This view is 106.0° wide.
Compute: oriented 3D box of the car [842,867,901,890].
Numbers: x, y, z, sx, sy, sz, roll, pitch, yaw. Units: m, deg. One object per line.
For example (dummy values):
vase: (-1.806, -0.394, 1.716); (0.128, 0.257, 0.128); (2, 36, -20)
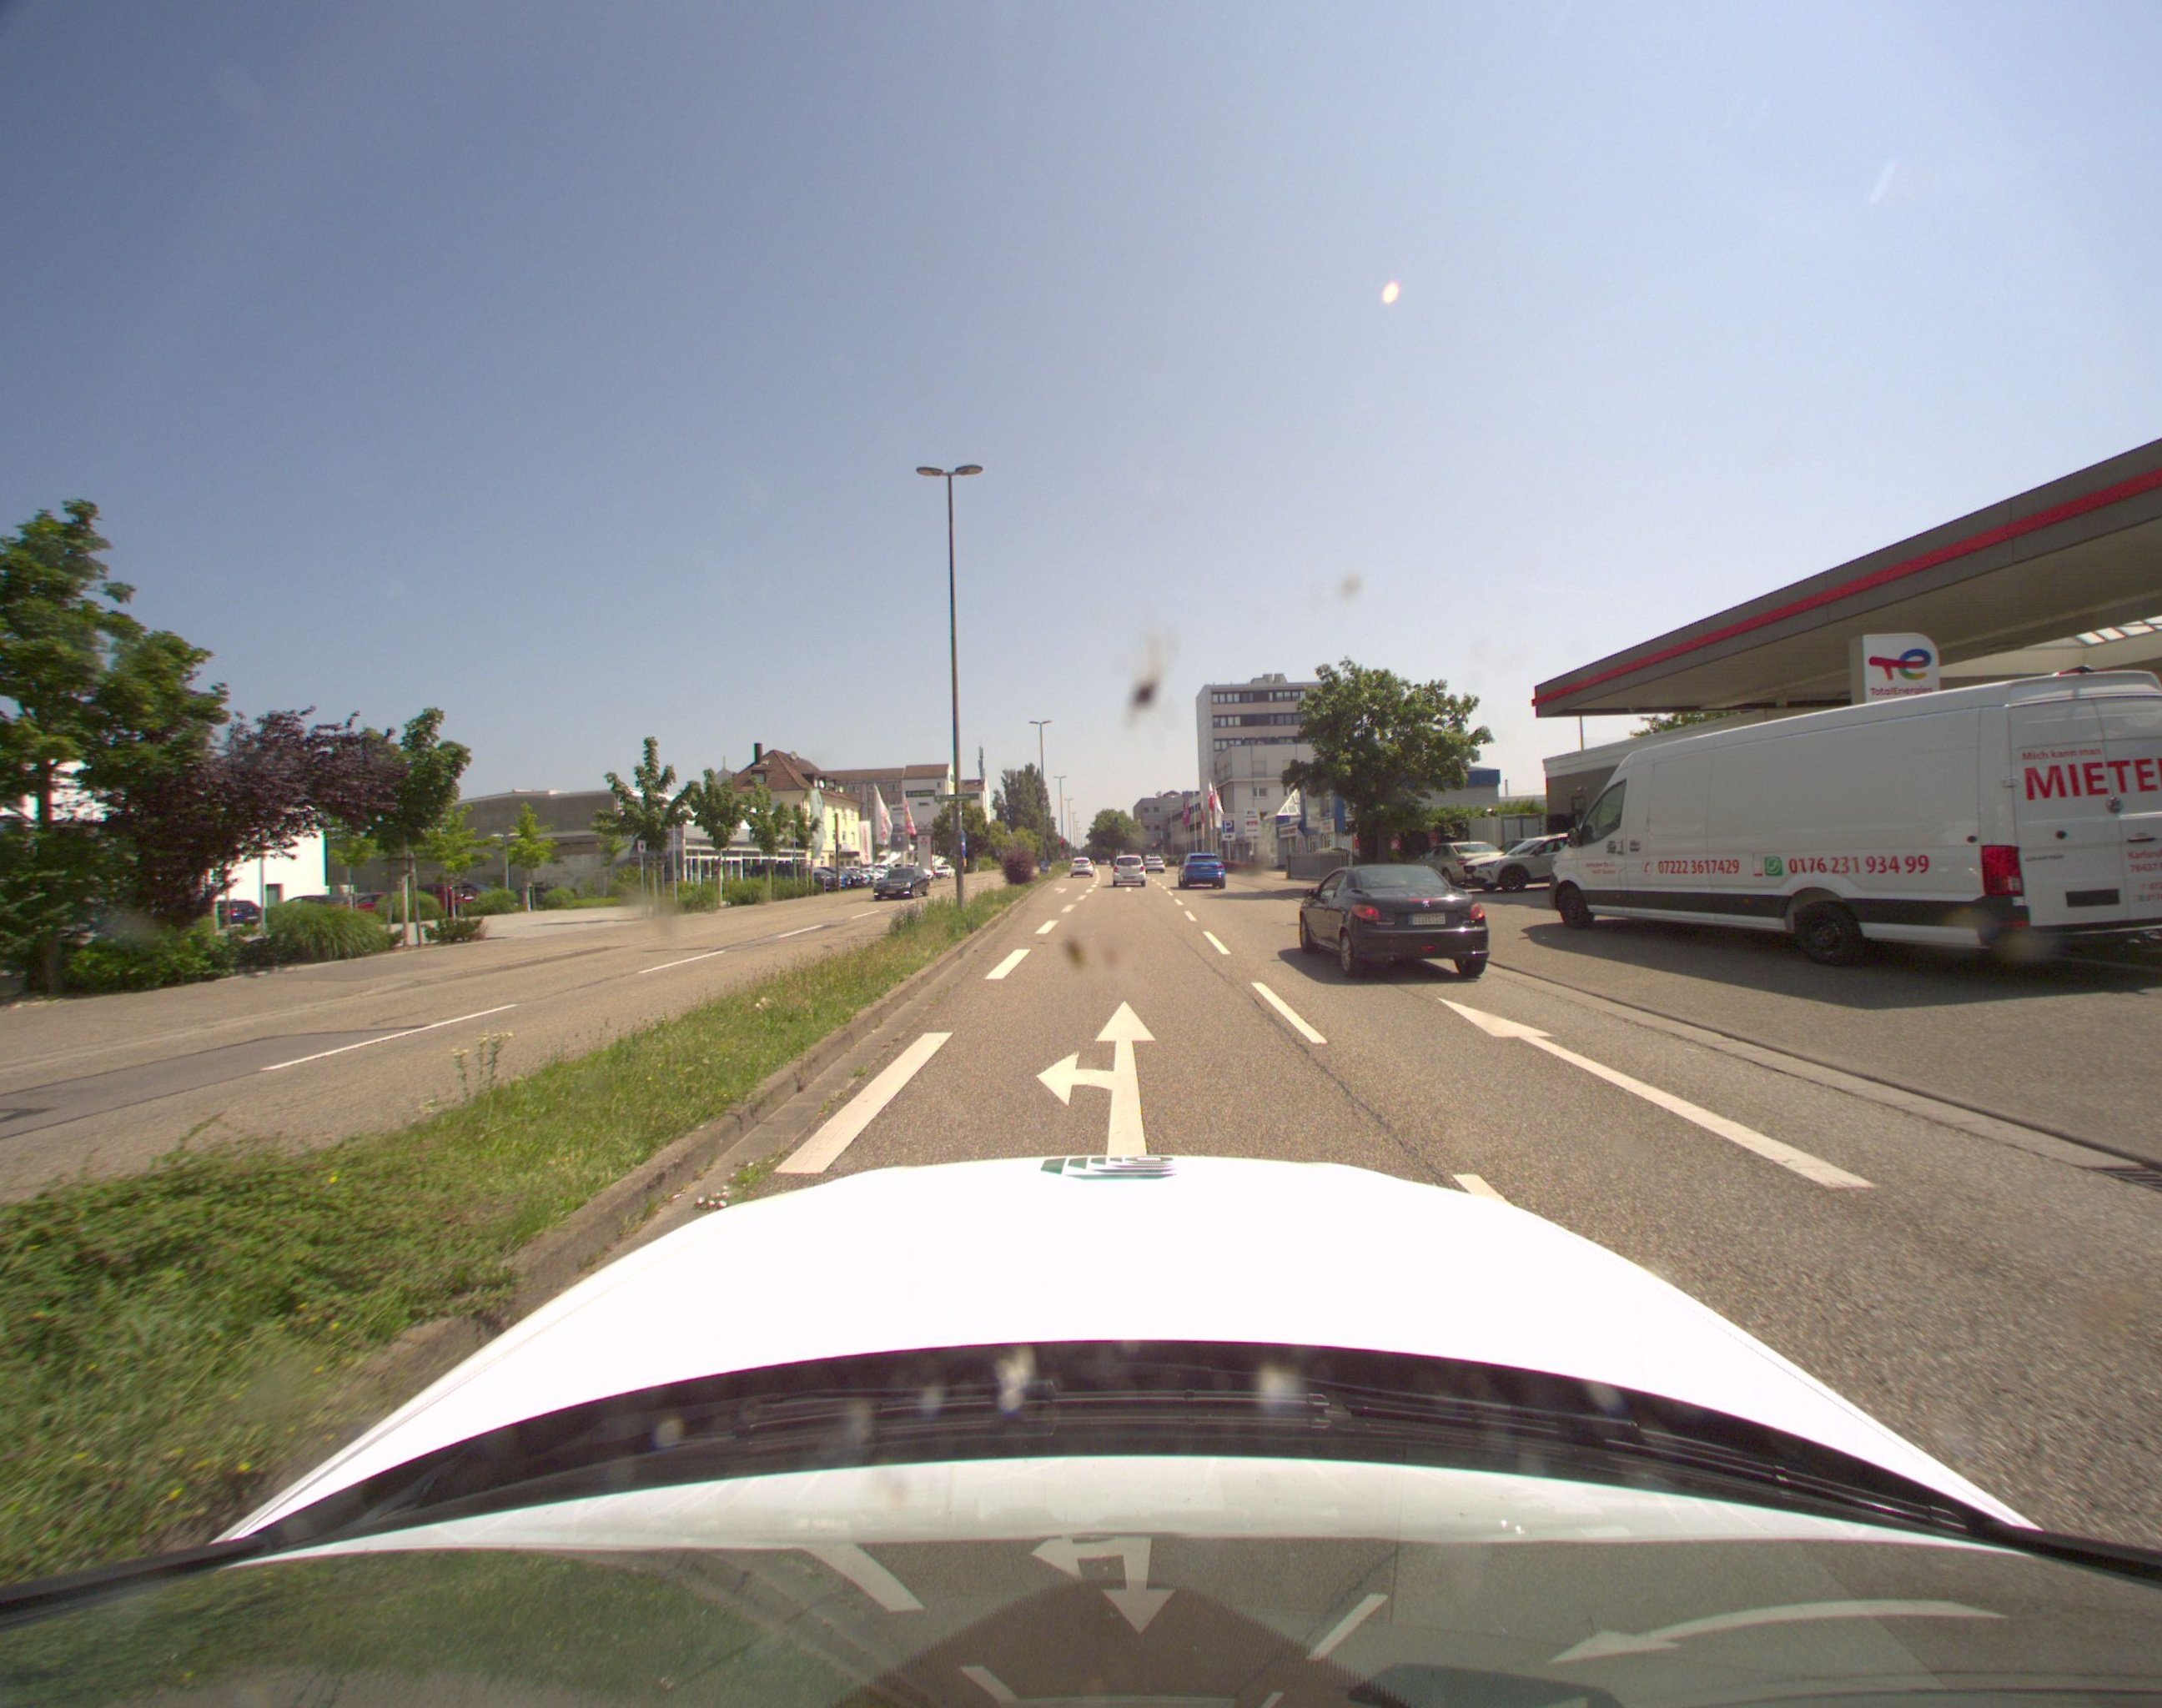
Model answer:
car: (-15.846, 1.852, 61.688); (3.977, 1.684, 1.998); (-1, -3, -2)

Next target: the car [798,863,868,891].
car: (-16.041, 1.494, 52.770); (3.977, 1.665, 1.887); (-1, -3, -2)

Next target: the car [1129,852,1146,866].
car: (7.545, 0.688, 109.105); (1.790, 1.729, 3.969); (-1, -2, -2)

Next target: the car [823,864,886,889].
car: (-16.284, 1.627, 58.737); (3.977, 1.729, 1.935); (-1, -3, -2)

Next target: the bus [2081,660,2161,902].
bus: (14.772, -0.903, 5.012); (2.792, 3.078, 12.298); (-2, 1, 4)

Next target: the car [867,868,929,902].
car: (-8.643, 1.428, 38.780); (1.891, 1.387, 4.067); (-3, 0, 1)

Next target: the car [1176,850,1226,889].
car: (5.358, 0.644, 36.784); (1.904, 1.597, 4.401); (-1, 0, 4)

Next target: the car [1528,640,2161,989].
car: (8.925, -0.346, 10.540); (2.126, 2.839, 7.309); (-5, 0, 0)

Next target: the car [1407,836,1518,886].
car: (12.510, 0.290, 26.988); (1.744, 1.511, 3.997); (-1, -2, -1)

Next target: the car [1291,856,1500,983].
car: (4.050, 0.758, 11.117); (1.593, 1.425, 3.664); (-1, 0, 3)

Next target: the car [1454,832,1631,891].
car: (12.919, 0.241, 23.005); (3.965, 1.511, 1.749); (-1, -3, 7)

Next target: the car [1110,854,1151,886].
car: (2.428, 0.788, 40.578); (1.708, 1.511, 3.244); (-1, -1, -2)

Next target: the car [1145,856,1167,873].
car: (6.515, 0.937, 70.920); (1.661, 1.399, 3.794); (-2, 0, 1)

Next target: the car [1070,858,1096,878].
car: (0.160, 1.060, 61.734); (1.823, 1.450, 4.001); (-1, -2, 2)

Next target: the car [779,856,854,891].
car: (-16.266, 1.215, 50.158); (3.977, 2.014, 1.998); (-1, -3, -2)

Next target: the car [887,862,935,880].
car: (-15.646, 1.551, 75.186); (3.970, 1.552, 1.866); (-1, -3, 3)

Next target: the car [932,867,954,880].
car: (-14.775, 2.094, 87.356); (1.898, 1.354, 3.993); (-1, -2, -4)

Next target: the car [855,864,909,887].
car: (-16.274, 1.752, 66.453); (4.006, 1.731, 1.892); (0, -3, -25)
